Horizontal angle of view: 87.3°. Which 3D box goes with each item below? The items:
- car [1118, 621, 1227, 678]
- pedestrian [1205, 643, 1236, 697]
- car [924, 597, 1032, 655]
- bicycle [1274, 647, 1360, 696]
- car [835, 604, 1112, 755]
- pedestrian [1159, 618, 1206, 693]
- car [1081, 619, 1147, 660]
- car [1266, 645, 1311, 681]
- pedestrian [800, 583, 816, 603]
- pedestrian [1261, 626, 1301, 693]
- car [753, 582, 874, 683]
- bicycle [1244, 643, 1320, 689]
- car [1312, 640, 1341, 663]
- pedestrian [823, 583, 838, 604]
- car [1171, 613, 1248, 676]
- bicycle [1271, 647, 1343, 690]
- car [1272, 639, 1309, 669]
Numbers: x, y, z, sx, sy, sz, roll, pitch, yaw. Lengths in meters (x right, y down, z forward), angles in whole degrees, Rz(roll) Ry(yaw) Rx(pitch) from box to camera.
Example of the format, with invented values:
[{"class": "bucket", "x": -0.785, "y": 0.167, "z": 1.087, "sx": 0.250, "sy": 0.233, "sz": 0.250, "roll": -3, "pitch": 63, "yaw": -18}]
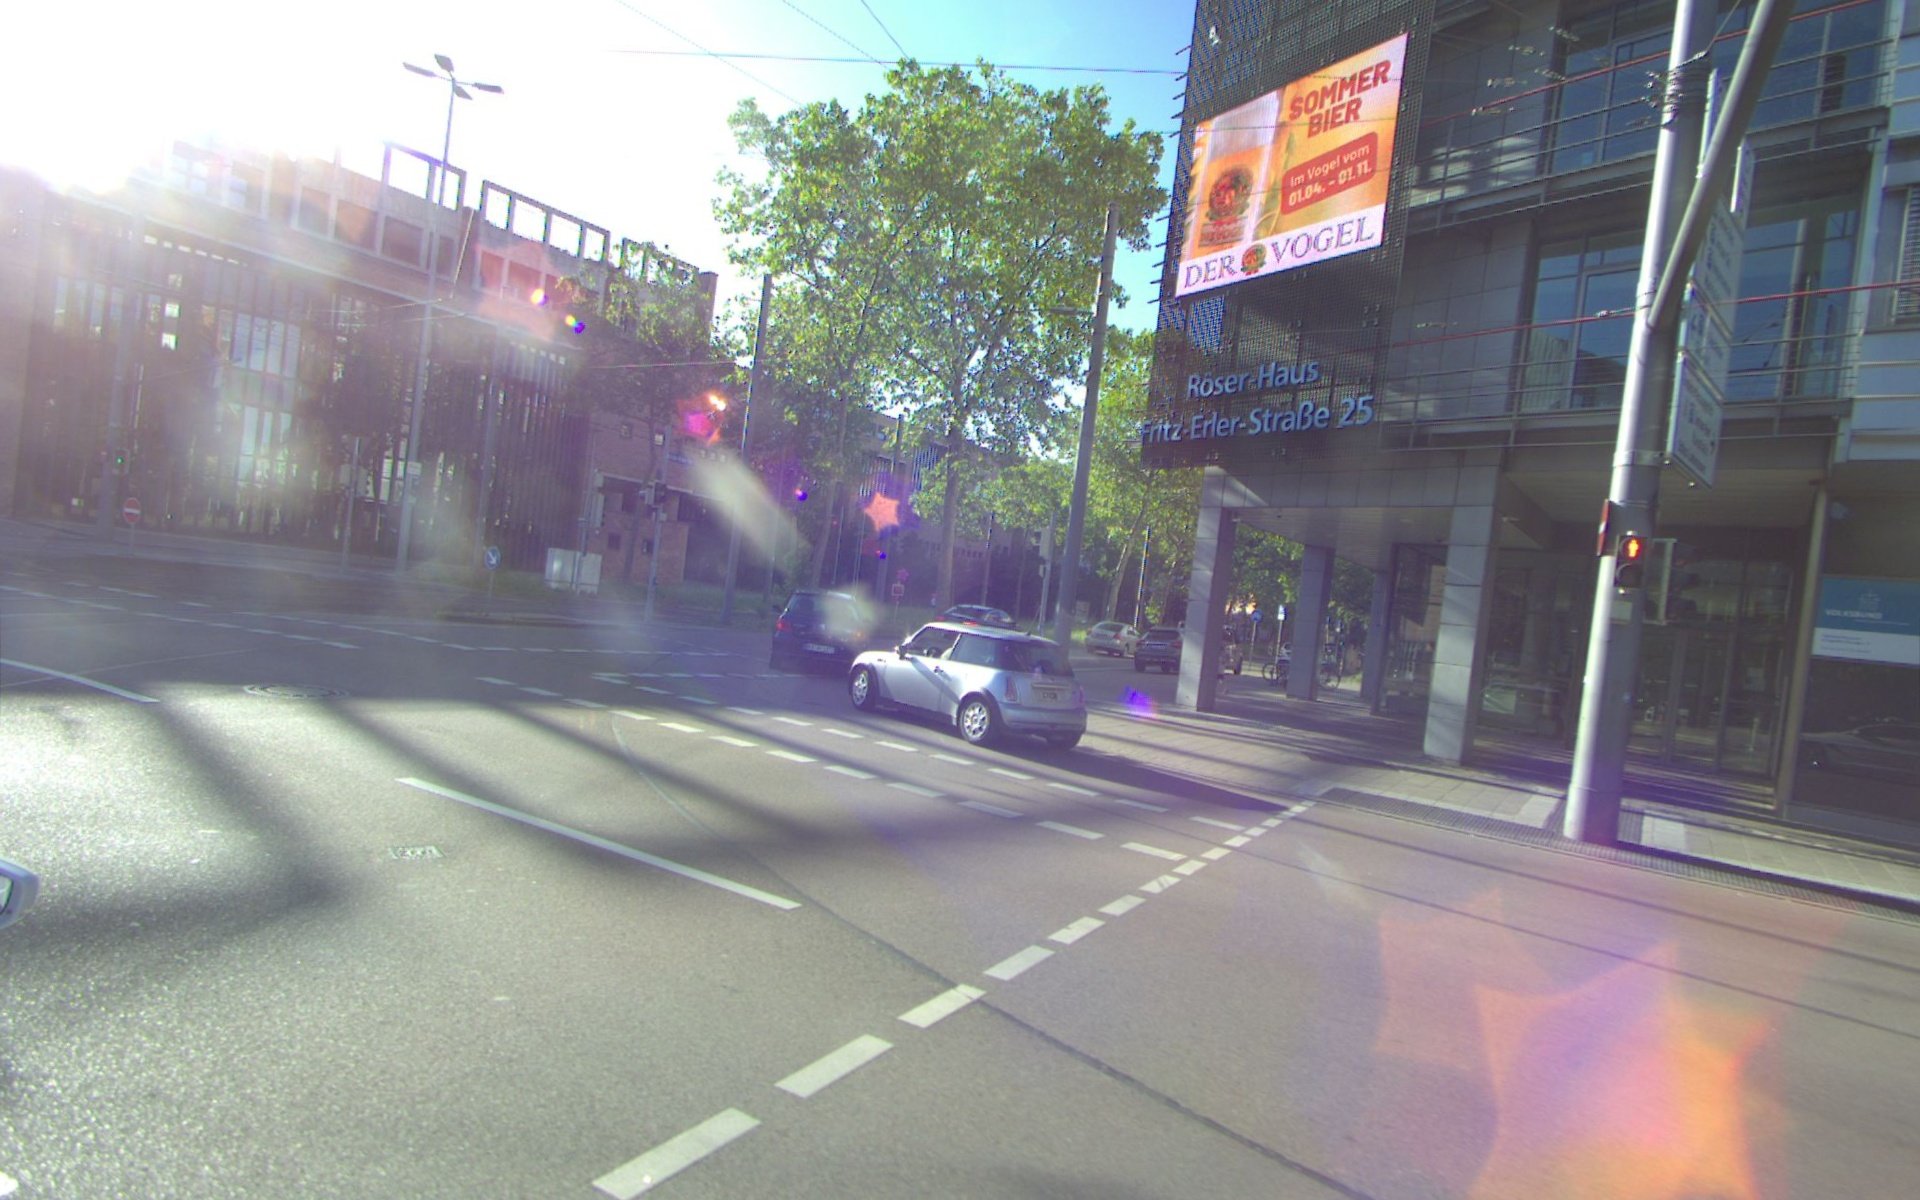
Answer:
[{"class": "car", "x": 7.048, "y": 1.660, "z": 33.067, "sx": 1.839, "sy": 1.493, "sz": 3.963, "roll": 7, "pitch": 0, "yaw": 37}, {"class": "pedestrian", "x": 6.154, "y": 1.653, "z": 23.768, "sx": 0.436, "sy": 1.225, "sz": 0.461, "roll": 8, "pitch": 1, "yaw": 33}, {"class": "car", "x": 0.645, "y": 0.863, "z": 32.124, "sx": 1.671, "sy": 1.457, "sz": 4.014, "roll": 7, "pitch": -1, "yaw": 28}, {"class": "bicycle", "x": 11.567, "y": 2.309, "z": 32.639, "sx": 2.359, "sy": 1.229, "sz": 0.772, "roll": 8, "pitch": 1, "yaw": 40}, {"class": "car", "x": 0.069, "y": 0.999, "z": 13.361, "sx": 1.655, "sy": 1.405, "sz": 3.496, "roll": 8, "pitch": 0, "yaw": -41}, {"class": "pedestrian", "x": 5.283, "y": 1.318, "z": 23.844, "sx": 0.650, "sy": 1.661, "sz": 0.791, "roll": 8, "pitch": 1, "yaw": 33}, {"class": "car", "x": 6.778, "y": 1.742, "z": 43.969, "sx": 1.670, "sy": 1.493, "sz": 3.978, "roll": 7, "pitch": 0, "yaw": 25}, {"class": "car", "x": 16.311, "y": 3.085, "z": 49.824, "sx": 1.833, "sy": 1.493, "sz": 3.977, "roll": 7, "pitch": 0, "yaw": 20}, {"class": "pedestrian", "x": -11.383, "y": -0.533, "z": 75.164, "sx": 0.798, "sy": 1.401, "sz": 0.686, "roll": 8, "pitch": 1, "yaw": 28}, {"class": "pedestrian", "x": 9.013, "y": 1.681, "z": 28.248, "sx": 0.579, "sy": 1.754, "sz": 0.789, "roll": 7, "pitch": -1, "yaw": 44}, {"class": "car", "x": -2.905, "y": 0.534, "z": 19.208, "sx": 1.837, "sy": 1.493, "sz": 3.967, "roll": 7, "pitch": 0, "yaw": -13}, {"class": "bicycle", "x": 11.118, "y": 2.271, "z": 34.753, "sx": 2.350, "sy": 1.229, "sz": 0.775, "roll": 8, "pitch": 1, "yaw": 19}, {"class": "car", "x": 27.659, "y": 3.876, "z": 75.849, "sx": 1.833, "sy": 1.493, "sz": 3.977, "roll": 7, "pitch": 0, "yaw": 20}, {"class": "pedestrian", "x": -10.311, "y": -0.516, "z": 80.302, "sx": 0.797, "sy": 1.626, "sz": 0.687, "roll": 7, "pitch": 1, "yaw": 13}, {"class": "car", "x": 9.660, "y": 1.739, "z": 38.675, "sx": 1.834, "sy": 2.041, "sz": 4.454, "roll": 7, "pitch": 0, "yaw": 25}, {"class": "bicycle", "x": 12.848, "y": 2.537, "z": 37.271, "sx": 2.350, "sy": 1.229, "sz": 0.775, "roll": 8, "pitch": 1, "yaw": 19}, {"class": "car", "x": 19.883, "y": 3.213, "z": 60.399, "sx": 1.833, "sy": 1.493, "sz": 3.977, "roll": 7, "pitch": 0, "yaw": 20}]
